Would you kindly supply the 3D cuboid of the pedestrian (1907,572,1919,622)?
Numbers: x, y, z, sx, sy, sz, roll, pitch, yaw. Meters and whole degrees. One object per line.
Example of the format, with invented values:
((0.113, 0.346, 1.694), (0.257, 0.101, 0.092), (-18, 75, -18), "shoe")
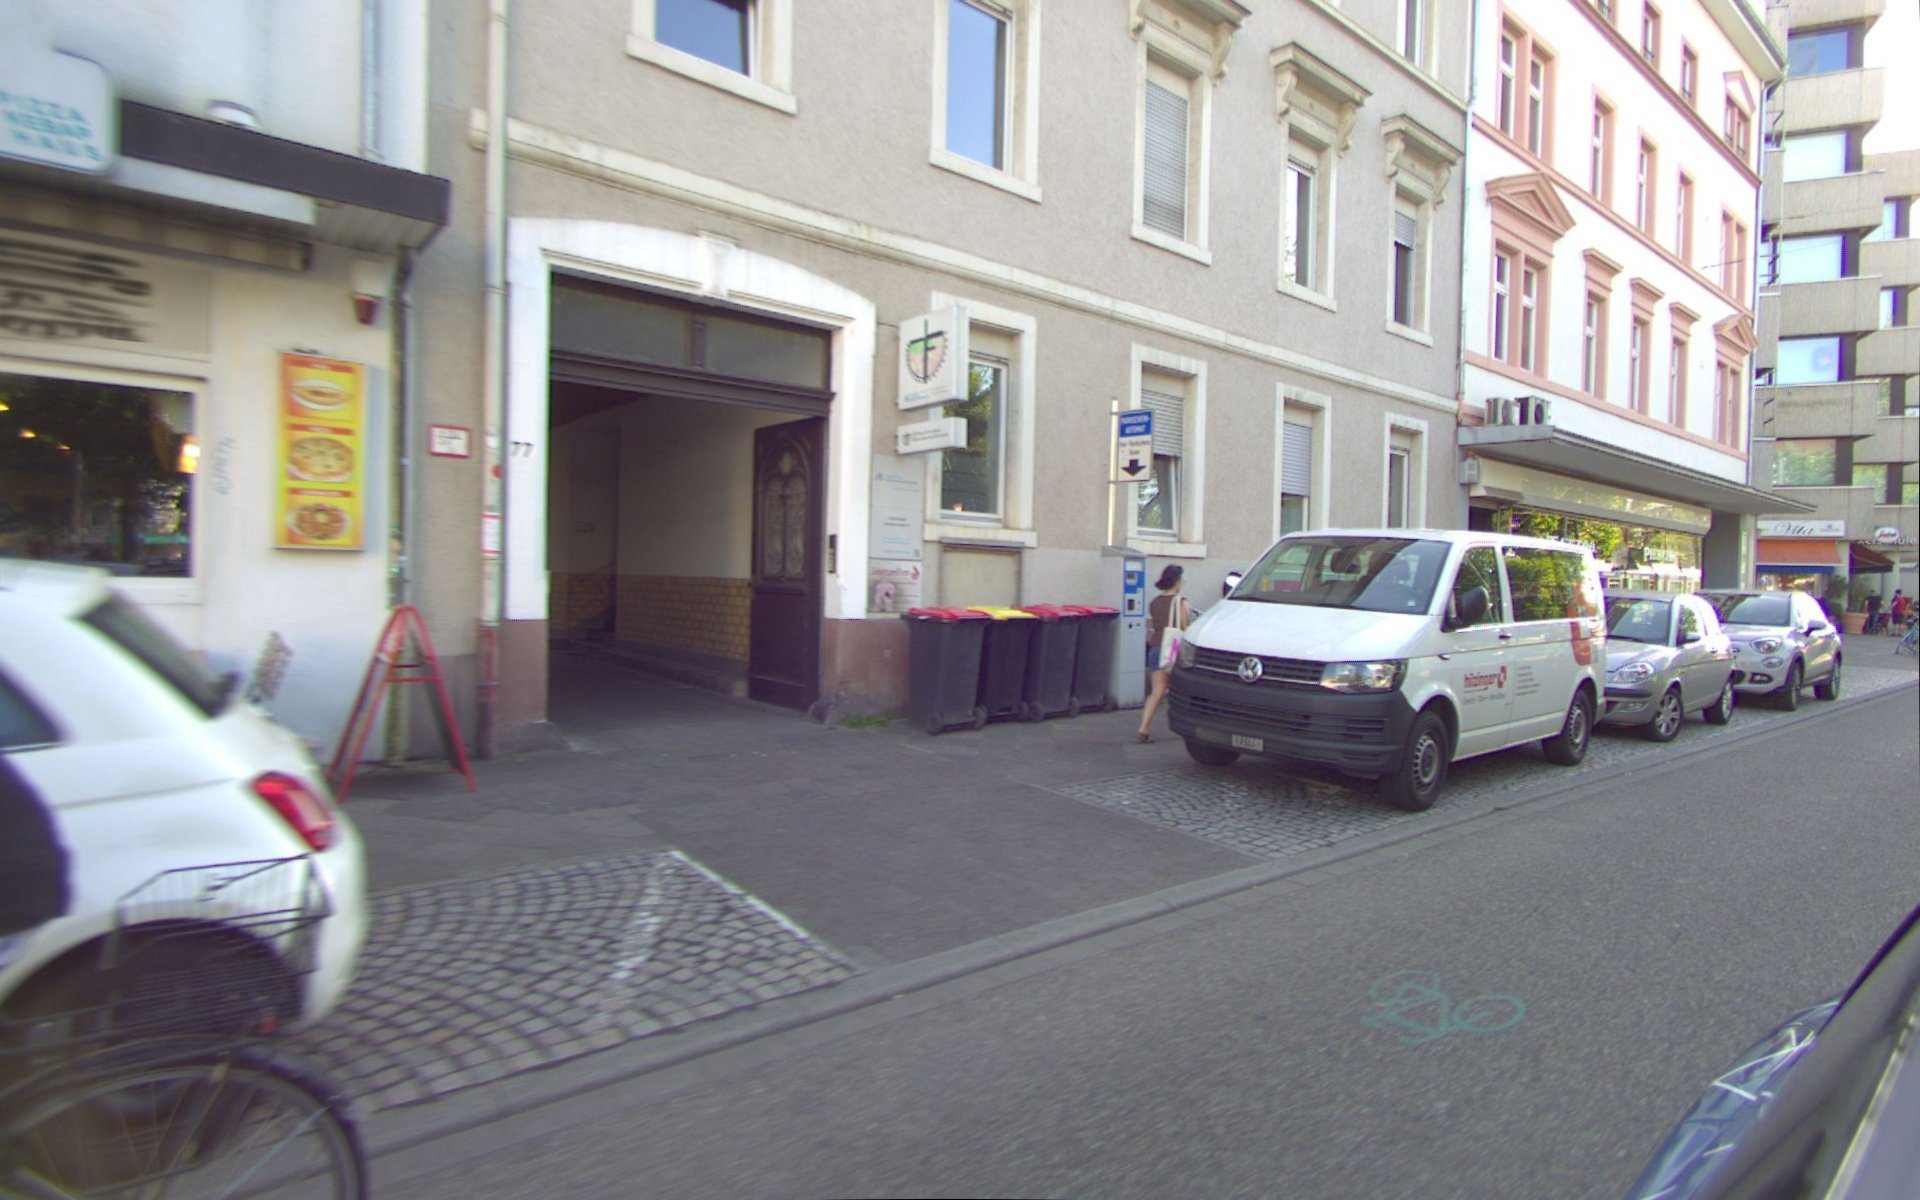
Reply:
((36.760, -0.113, 38.663), (0.599, 1.878, 0.673), (-1, 4, -36), "pedestrian")

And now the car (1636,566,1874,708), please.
((11.766, 0.406, 14.849), (4.872, 1.760, 1.749), (-2, 1, -40), "car")

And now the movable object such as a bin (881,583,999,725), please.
((-0.183, 0.442, 8.913), (0.686, 1.151, 0.841), (-1, 2, -36), "movable object such as a bin")

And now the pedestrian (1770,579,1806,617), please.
((31.725, -0.065, 38.785), (0.834, 1.420, 0.748), (0, -1, 21), "pedestrian")

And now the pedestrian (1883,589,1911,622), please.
((36.324, 0.202, 39.215), (0.613, 1.251, 0.632), (-1, 4, -36), "pedestrian")

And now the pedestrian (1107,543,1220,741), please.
((1.802, 0.344, 9.026), (0.450, 1.625, 0.752), (-1, 8, -38), "pedestrian")

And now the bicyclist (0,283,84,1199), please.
((-1.815, 0.351, 1.243), (1.076, 1.471, 0.788), (-1, 1, -40), "bicyclist")

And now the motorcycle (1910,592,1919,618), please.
((45.979, 0.223, 47.981), (2.006, 1.168, 0.768), (-1, 4, -29), "motorcycle")

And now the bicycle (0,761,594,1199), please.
((-1.874, 0.882, 1.202), (2.650, 0.970, 0.654), (-2, 1, -40), "bicycle")

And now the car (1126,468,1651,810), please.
((3.793, 0.202, 8.415), (5.027, 2.030, 1.997), (0, 1, -41), "car")

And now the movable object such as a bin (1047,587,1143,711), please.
((1.343, 0.467, 10.120), (0.568, 1.175, 0.771), (-1, 1, -36), "movable object such as a bin")

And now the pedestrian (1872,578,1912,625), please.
((35.127, 0.047, 38.154), (0.835, 1.731, 0.714), (3, 2, 23), "pedestrian")

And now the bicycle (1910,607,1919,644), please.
((27.494, 0.731, 28.013), (0.419, 1.016, 1.712), (-1, 1, -23), "bicycle")

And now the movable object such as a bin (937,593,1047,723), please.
((0.287, 0.510, 9.461), (0.648, 1.089, 0.797), (-1, 5, -37), "movable object such as a bin")

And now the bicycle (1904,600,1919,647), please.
((26.429, 0.647, 27.044), (0.645, 1.258, 1.630), (-1, 1, -19), "bicycle")

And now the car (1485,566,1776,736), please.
((7.662, 0.426, 11.465), (3.689, 1.624, 1.703), (-1, 2, -39), "car")

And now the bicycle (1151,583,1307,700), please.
((3.001, 0.438, 11.272), (1.684, 1.200, 0.486), (-1, 4, -21), "bicycle")

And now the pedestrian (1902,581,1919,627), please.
((36.104, 0.145, 38.279), (0.685, 1.736, 0.585), (-1, 0, -36), "pedestrian")

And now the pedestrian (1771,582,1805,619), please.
((32.334, 0.007, 39.550), (0.835, 1.420, 0.824), (1, 0, 26), "pedestrian")

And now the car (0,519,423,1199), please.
((-3.328, 0.567, 2.243), (3.519, 1.533, 1.723), (-2, 4, -40), "car")

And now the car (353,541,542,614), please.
((-13.025, -0.570, 25.836), (3.931, 1.716, 1.997), (-2, 1, -41), "car")

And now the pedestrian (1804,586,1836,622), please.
((33.127, 0.146, 38.995), (0.840, 1.308, 0.819), (3, 3, 39), "pedestrian")
